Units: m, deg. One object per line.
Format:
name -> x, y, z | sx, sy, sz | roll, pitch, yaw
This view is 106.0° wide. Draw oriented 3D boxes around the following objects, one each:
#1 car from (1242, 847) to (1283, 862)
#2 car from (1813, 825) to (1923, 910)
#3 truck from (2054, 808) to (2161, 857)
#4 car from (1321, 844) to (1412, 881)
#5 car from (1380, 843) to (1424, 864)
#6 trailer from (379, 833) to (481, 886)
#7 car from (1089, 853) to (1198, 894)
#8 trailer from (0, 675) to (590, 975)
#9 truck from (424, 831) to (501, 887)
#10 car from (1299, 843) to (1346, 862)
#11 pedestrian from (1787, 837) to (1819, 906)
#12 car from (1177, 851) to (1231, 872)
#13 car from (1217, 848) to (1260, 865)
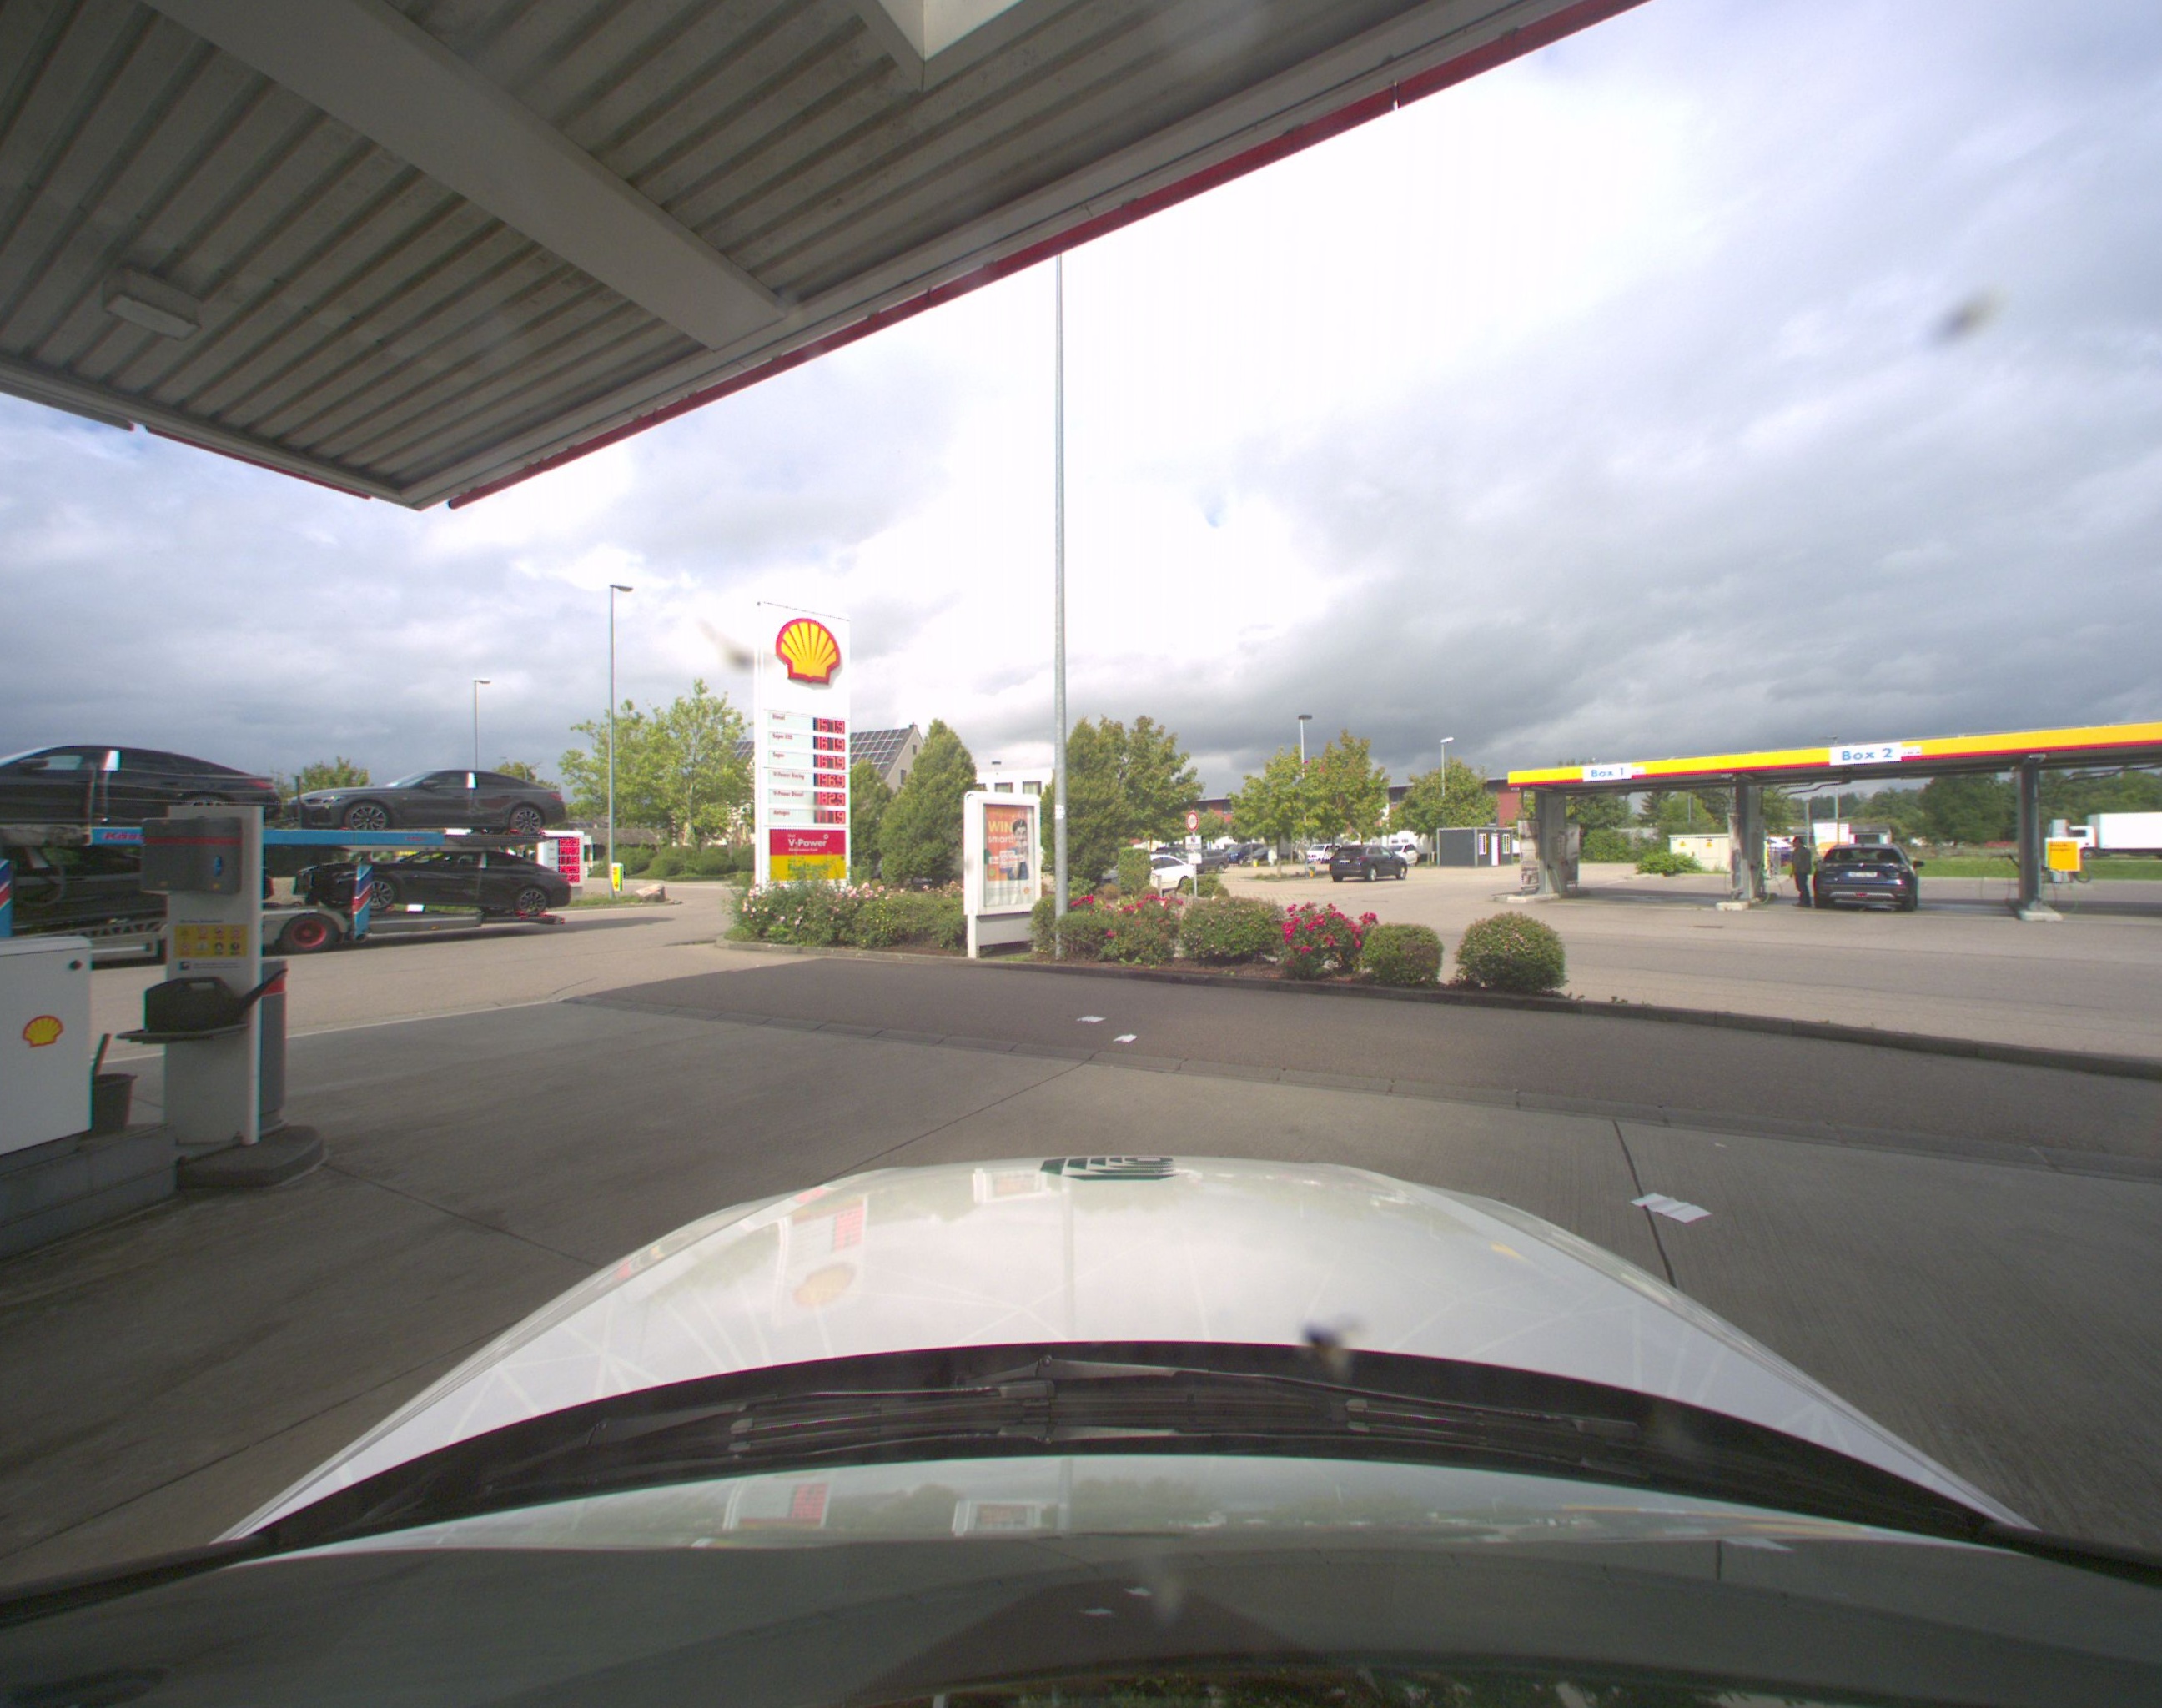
car -> 14.465, 0.038, 64.847 | 3.437, 1.179, 1.468 | 0, -1, -42
car -> 19.420, 0.315, 20.047 | 3.828, 1.897, 1.703 | 0, -1, -43
truck -> 78.205, -1.562, 59.992 | 7.989, 3.534, 2.714 | -1, -1, 41
car -> 12.855, 0.376, 36.551 | 4.527, 1.548, 1.864 | 0, -1, -41
car -> 20.583, -0.045, 52.188 | 3.120, 1.307, 1.352 | 0, -1, -42
trailer -> -49.780, 0.455, 62.077 | 12.548, 3.776, 2.757 | -1, -1, 36
car -> 2.374, 0.685, 29.990 | 4.368, 1.404, 1.354 | 0, -1, -42
trailer -> -16.452, -0.410, 13.649 | 2.711, 4.423, 14.450 | -1, -1, 31
truck -> -44.111, 0.378, 58.041 | 5.842, 3.846, 2.759 | -1, -1, 36
car -> 23.843, -0.118, 80.241 | 4.903, 1.833, 2.159 | 0, -1, -41
pedestrian -> 18.274, 0.439, 20.607 | 0.551, 1.722, 0.531 | -1, -1, 38
car -> 7.516, 0.452, 49.675 | 3.245, 1.228, 1.488 | 0, -1, -42
car -> 12.922, 0.186, 66.631 | 3.407, 1.320, 1.726 | 0, -1, -42
